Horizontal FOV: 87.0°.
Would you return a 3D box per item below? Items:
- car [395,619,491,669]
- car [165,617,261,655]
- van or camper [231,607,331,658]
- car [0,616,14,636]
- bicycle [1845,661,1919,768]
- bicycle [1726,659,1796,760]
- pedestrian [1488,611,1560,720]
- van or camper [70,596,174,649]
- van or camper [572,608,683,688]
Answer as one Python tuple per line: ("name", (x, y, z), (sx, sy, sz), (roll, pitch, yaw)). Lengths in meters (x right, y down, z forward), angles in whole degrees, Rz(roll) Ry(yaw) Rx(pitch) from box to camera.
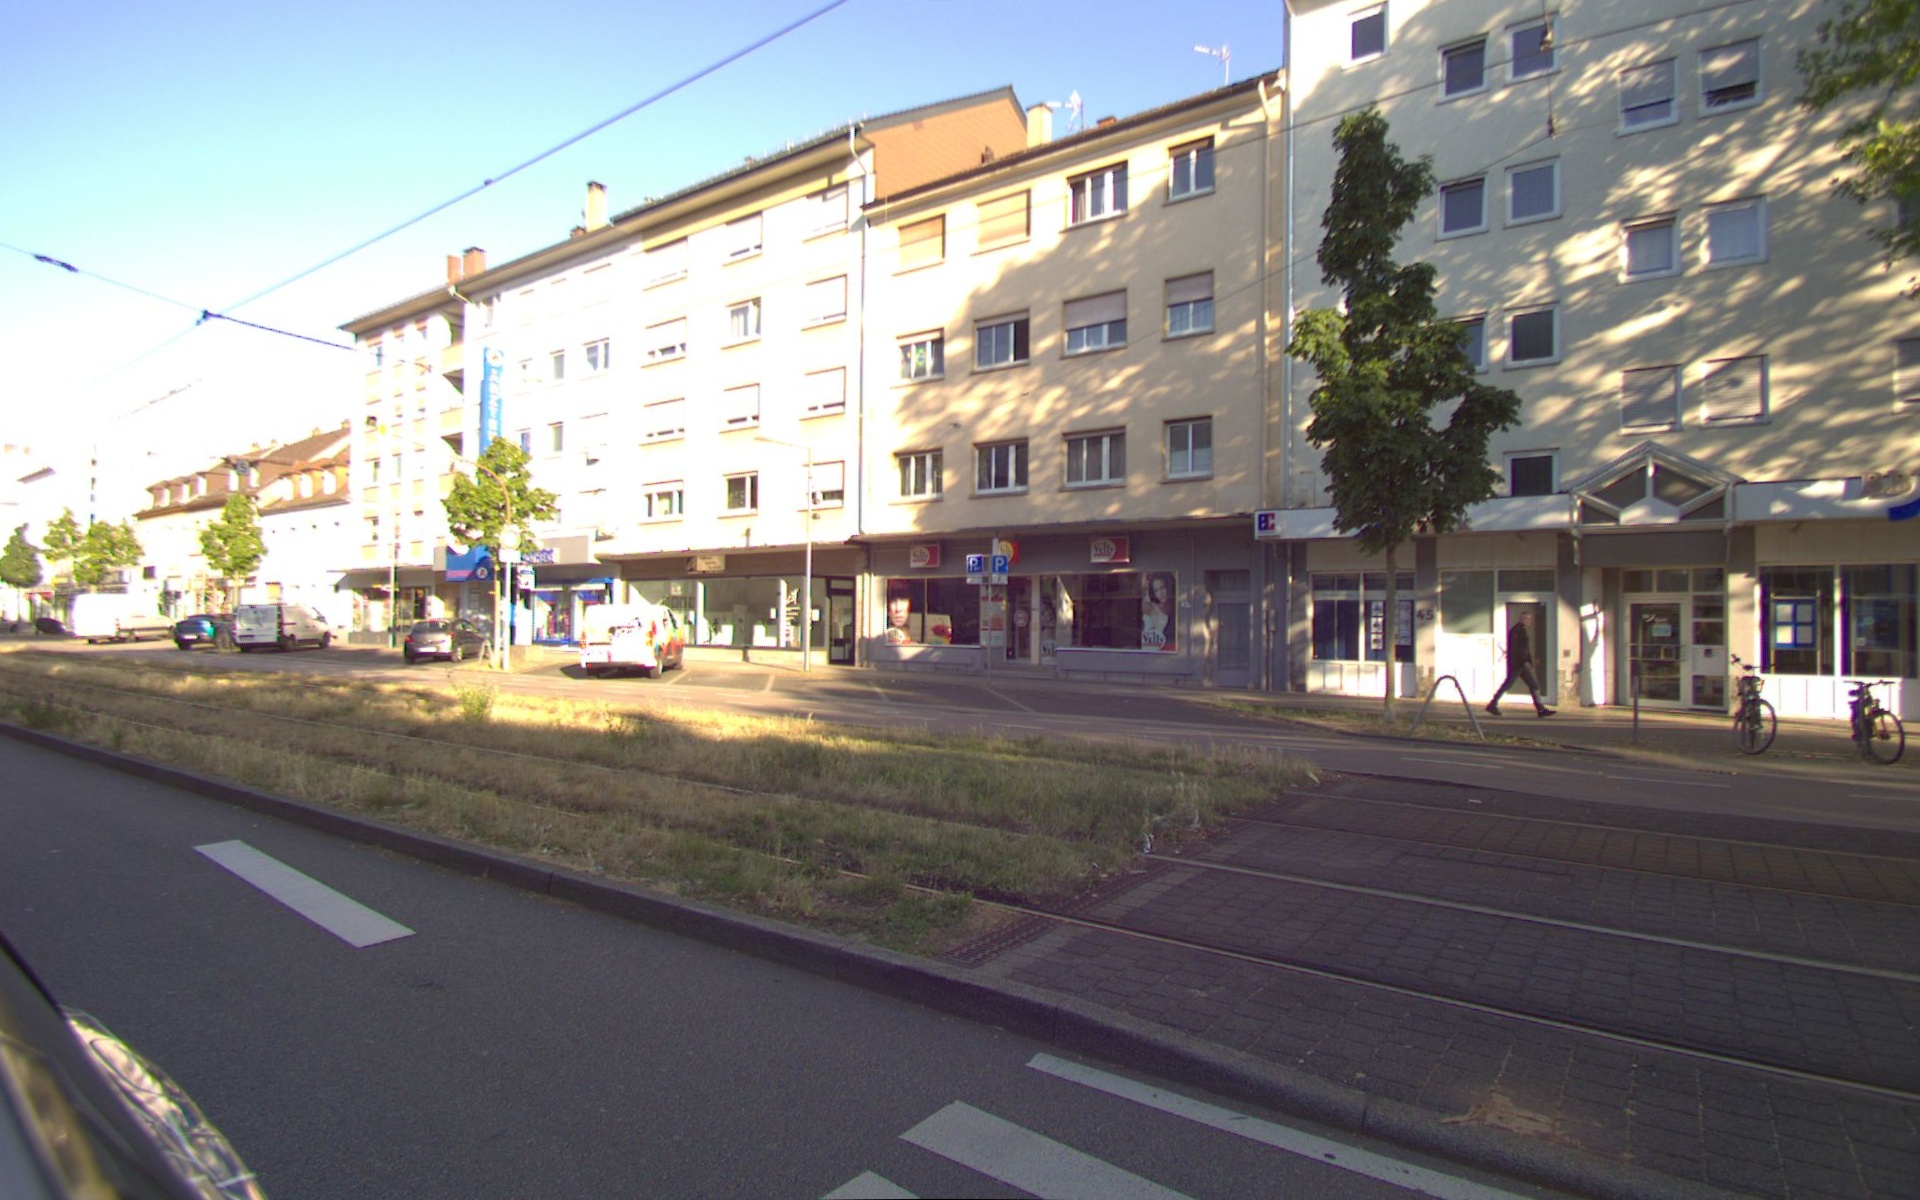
("car", (-17.607, 1.458, 34.695), (1.741, 1.501, 4.461), (-1, 0, -11))
("car", (-34.291, 1.604, 46.572), (1.850, 1.598, 4.007), (-1, 0, -7))
("van or camper", (-28.558, 1.306, 42.750), (1.771, 2.004, 4.460), (-1, 0, -9))
("car", (-73.387, 1.992, 75.452), (1.752, 1.501, 3.899), (-1, 0, 13))
("bicycle", (11.398, 1.364, 12.429), (0.533, 1.133, 1.878), (-1, -1, 34))
("bicycle", (10.374, 1.369, 13.148), (0.533, 1.133, 1.878), (-1, -1, 34))
("pedestrian", (9.702, 1.095, 17.420), (0.970, 1.801, 0.612), (-1, 0, 41))
("van or camper", (-45.377, 1.170, 55.011), (1.966, 2.687, 6.417), (-1, 0, -16))
("van or camper", (-8.882, 1.217, 27.484), (1.921, 1.912, 4.822), (-1, 0, -6))
